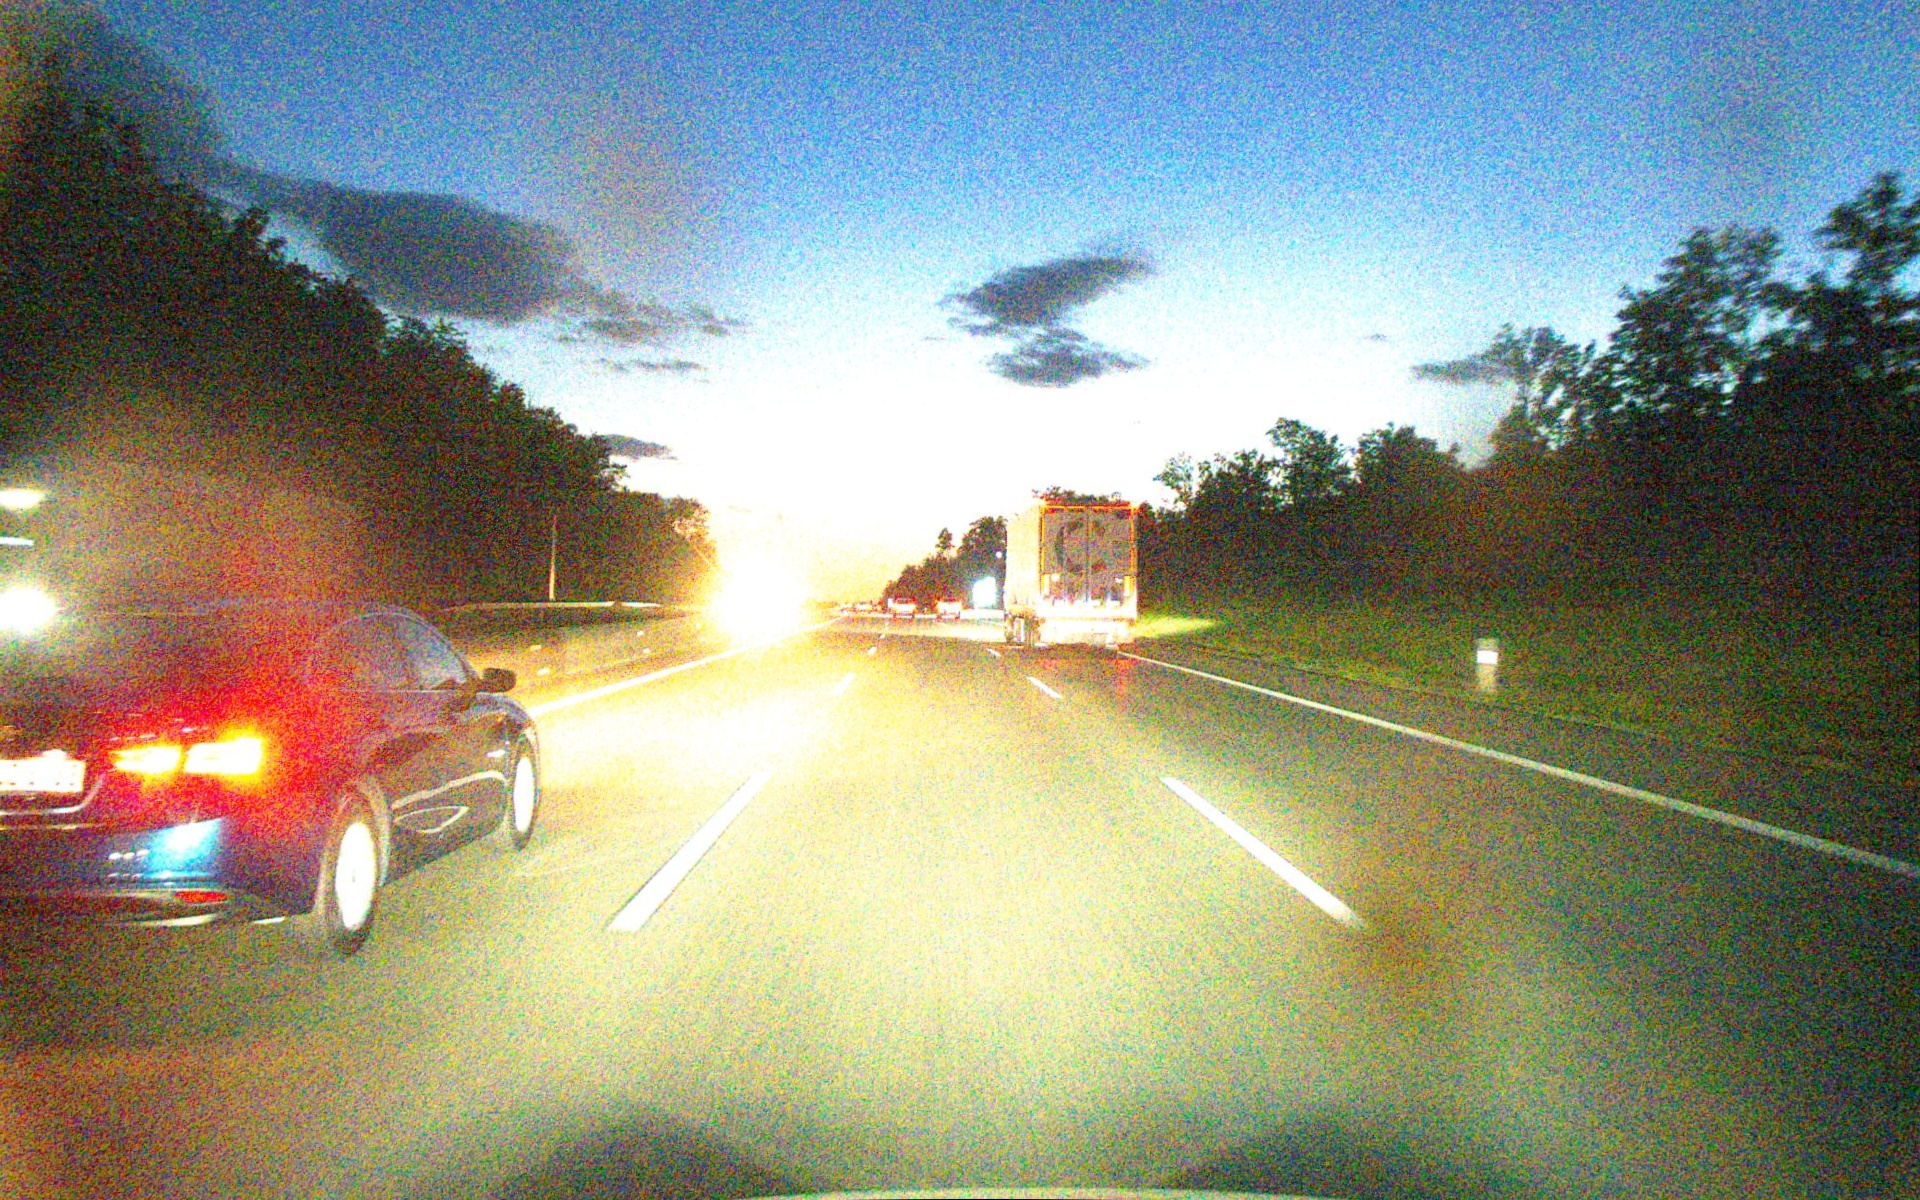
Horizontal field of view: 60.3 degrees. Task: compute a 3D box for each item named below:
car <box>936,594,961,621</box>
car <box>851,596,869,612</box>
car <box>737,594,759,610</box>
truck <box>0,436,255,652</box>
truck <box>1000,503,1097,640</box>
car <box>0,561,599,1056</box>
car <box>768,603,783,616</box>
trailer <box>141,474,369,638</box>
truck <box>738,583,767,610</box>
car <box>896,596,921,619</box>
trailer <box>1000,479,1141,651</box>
[{"bbox_3d":[-0.951,0.630,137.453,1.953,2.154,3.998,1,-1,-2],"label":"car"},{"bbox_3d":[-11.936,0.515,196.938,1.953,1.825,3.998,1,-1,-2],"label":"car"},{"bbox_3d":[-23.321,0.176,182.031,1.953,1.691,3.999,1,0,-2],"label":"car"},{"bbox_3d":[-19.368,-1.102,37.030,2.802,4.143,10.631,1,0,-2],"label":"truck"},{"bbox_3d":[2.906,-0.918,56.076,2.772,4.331,6.261,1,0,-1],"label":"truck"},{"bbox_3d":[-3.336,0.616,8.168,1.953,1.545,5.650,1,1,-1],"label":"car"},{"bbox_3d":[-24.937,1.335,223.421,1.710,1.691,3.998,1,-1,-2],"label":"car"},{"bbox_3d":[-19.641,-1.124,46.826,2.802,4.143,8.868,1,0,-2],"label":"trailer"},{"bbox_3d":[-30.944,-0.476,247.155,3.245,3.874,10.981,1,0,-2],"label":"truck"},{"bbox_3d":[-4.278,0.652,137.445,1.953,1.825,3.998,1,-1,-3],"label":"car"},{"bbox_3d":[3.020,-0.912,50.662,2.772,4.331,17.044,1,0,-1],"label":"trailer"}]
